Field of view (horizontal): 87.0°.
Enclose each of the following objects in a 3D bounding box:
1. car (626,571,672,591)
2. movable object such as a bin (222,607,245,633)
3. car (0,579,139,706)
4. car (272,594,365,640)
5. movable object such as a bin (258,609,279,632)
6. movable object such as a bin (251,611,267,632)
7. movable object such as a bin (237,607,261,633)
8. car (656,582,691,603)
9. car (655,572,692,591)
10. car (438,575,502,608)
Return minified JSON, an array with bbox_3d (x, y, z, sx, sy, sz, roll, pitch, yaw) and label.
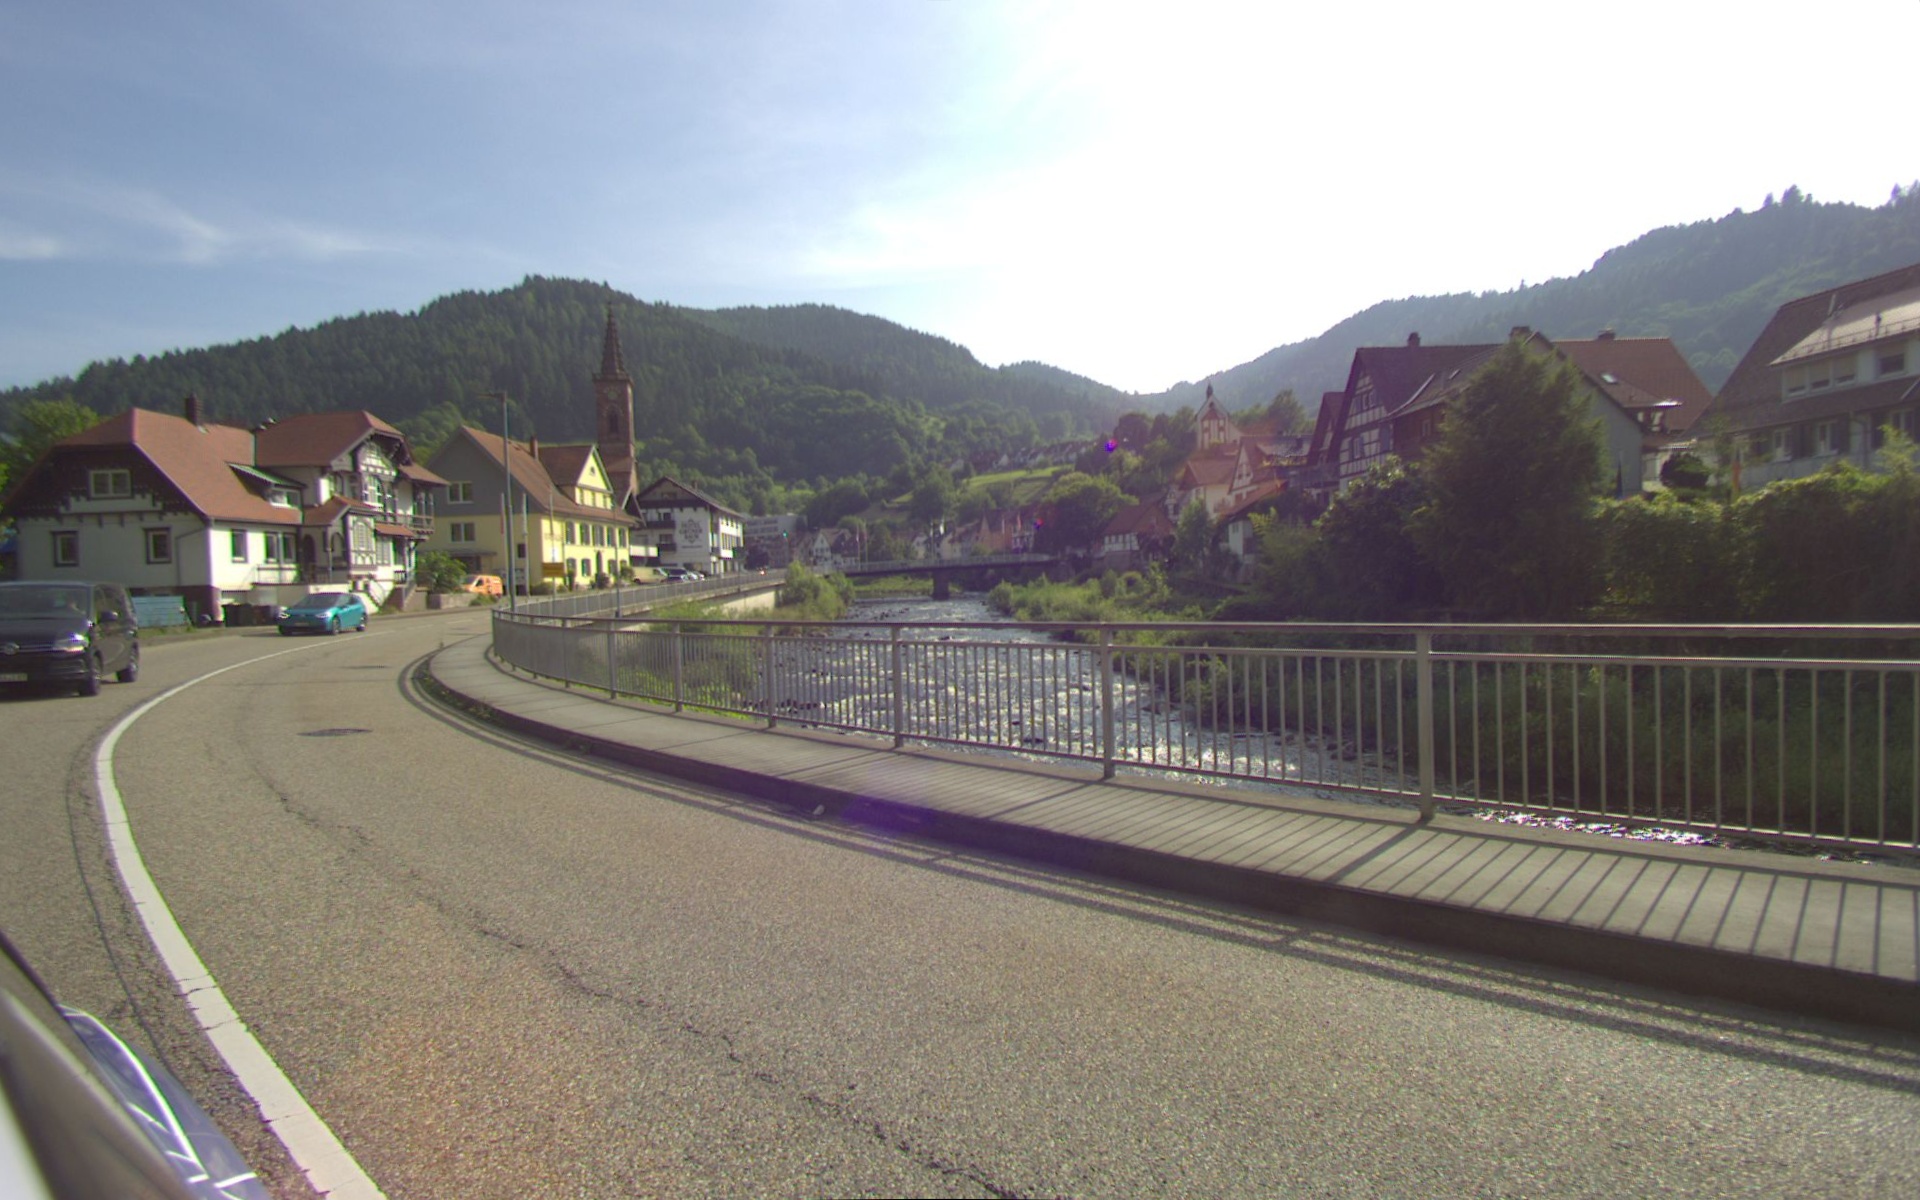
[{"bbox_3d":[-33.714,-2.049,109.861,4.398,1.973,1.713,3,2,2],"label":"car"},{"bbox_3d":[-31.622,0.883,44.047,0.471,1.070,0.753,-2,1,-5],"label":"movable object such as a bin"},{"bbox_3d":[-16.166,0.643,17.914,1.857,1.979,4.880,0,0,-31],"label":"car"},{"bbox_3d":[-23.921,0.582,37.879,1.656,1.533,3.875,0,2,-12],"label":"car"},{"bbox_3d":[-30.110,0.892,44.052,0.466,0.944,0.653,-2,1,-5],"label":"movable object such as a bin"},{"bbox_3d":[-30.610,0.933,44.207,0.363,0.906,0.548,-3,1,-11],"label":"movable object such as a bin"},{"bbox_3d":[-31.064,0.864,44.228,0.471,1.070,0.753,-2,1,-5],"label":"movable object such as a bin"},{"bbox_3d":[-23.361,-0.616,82.746,1.795,1.655,4.002,2,1,-2],"label":"car"},{"bbox_3d":[-31.900,-2.074,112.570,3.708,1.907,1.371,2,2,2],"label":"car"},{"bbox_3d":[-32.421,-0.603,67.140,1.888,2.012,4.835,2,1,0],"label":"car"}]
